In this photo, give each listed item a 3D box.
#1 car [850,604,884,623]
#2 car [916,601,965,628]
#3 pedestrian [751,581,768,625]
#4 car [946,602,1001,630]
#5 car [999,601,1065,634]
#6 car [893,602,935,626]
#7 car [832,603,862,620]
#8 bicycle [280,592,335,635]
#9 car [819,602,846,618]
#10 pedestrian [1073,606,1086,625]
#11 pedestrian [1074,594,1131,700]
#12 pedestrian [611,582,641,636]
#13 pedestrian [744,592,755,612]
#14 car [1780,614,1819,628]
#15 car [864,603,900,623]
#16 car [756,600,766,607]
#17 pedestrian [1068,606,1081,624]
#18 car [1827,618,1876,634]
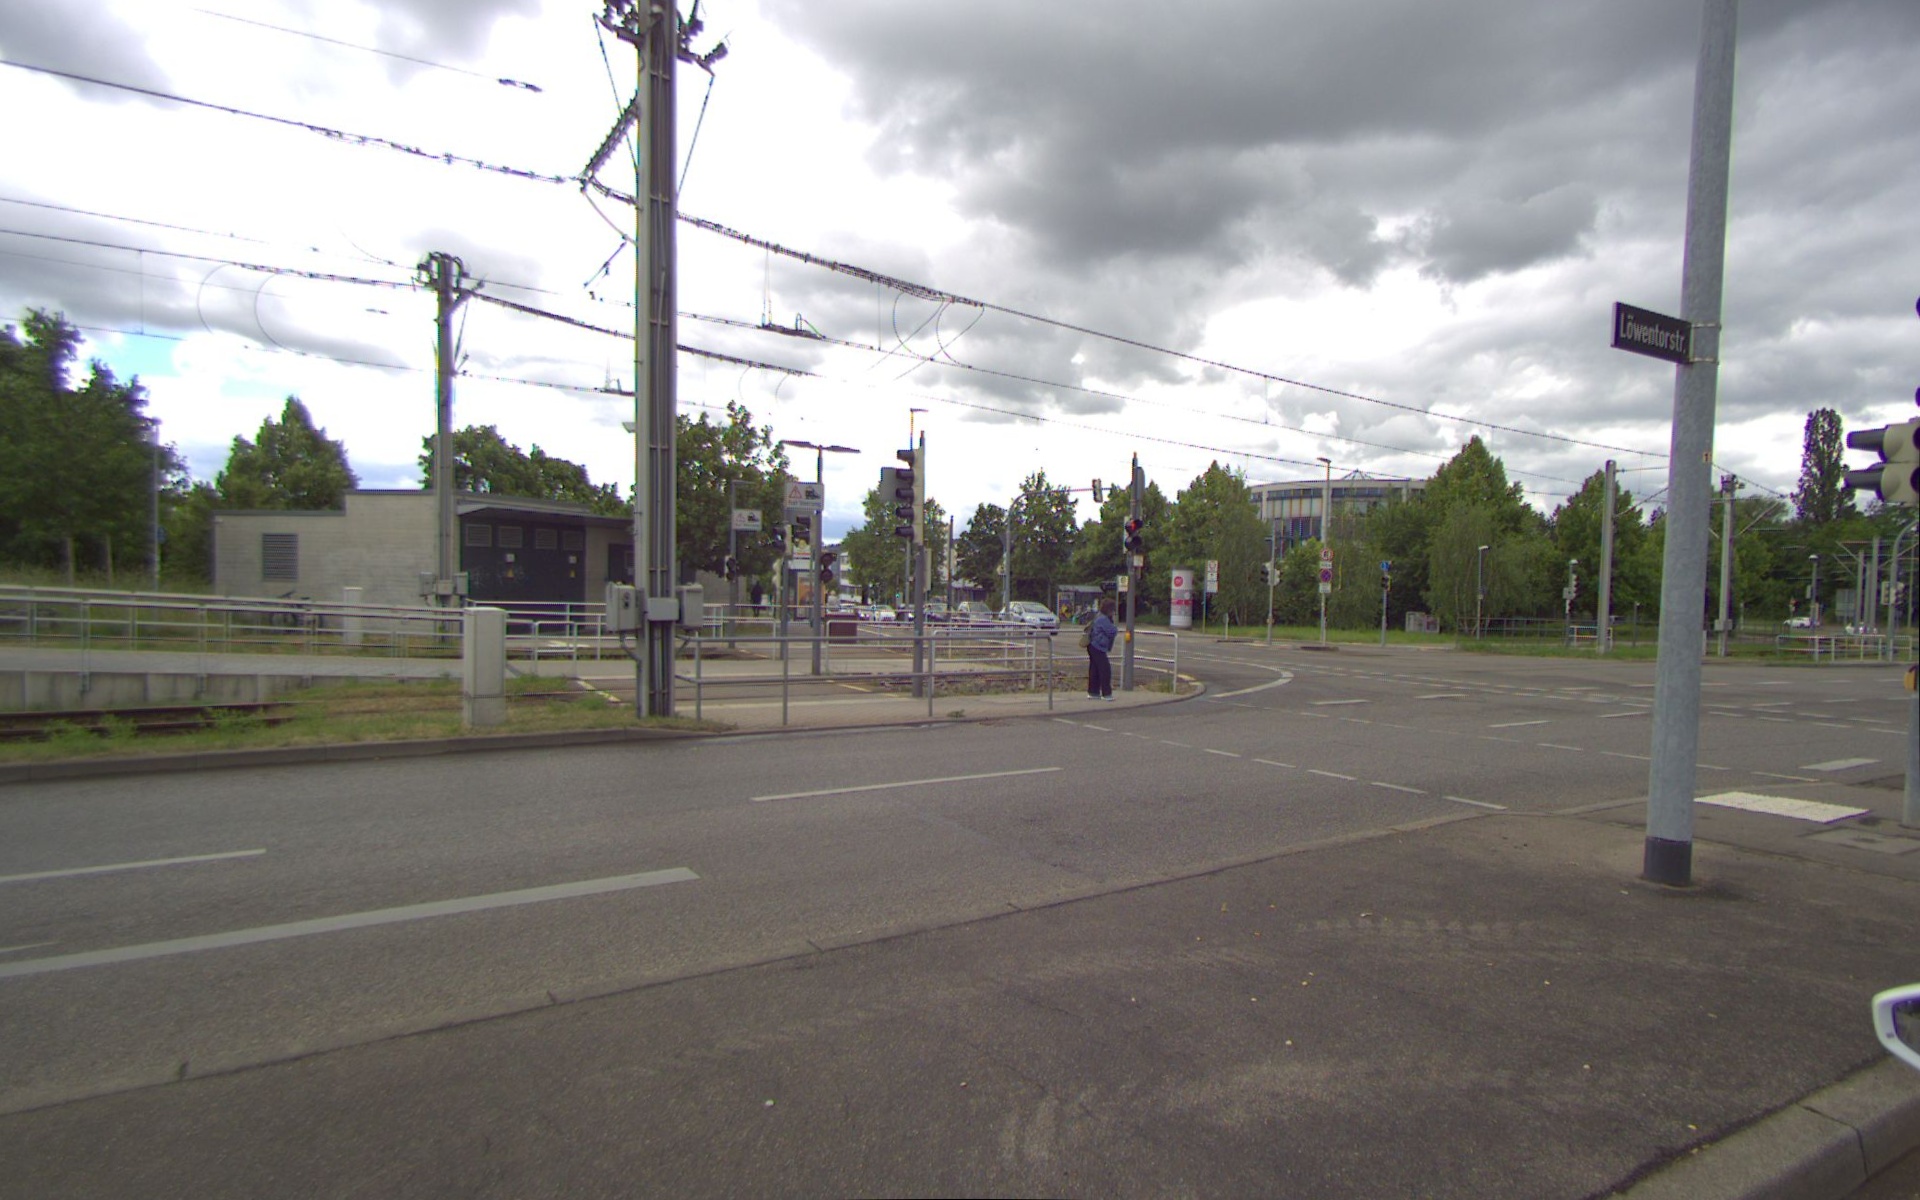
[{"bbox_3d":[-7.424,1.024,79.682,1.706,1.456,3.991,1,0,-20],"label":"car"},{"bbox_3d":[-1.156,0.817,58.163,1.706,1.456,3.731,1,0,-20],"label":"car"},{"bbox_3d":[-9.306,0.142,46.664,0.738,1.993,0.795,1,0,-9],"label":"pedestrian"},{"bbox_3d":[0.683,0.845,53.667,1.706,1.456,3.731,1,0,-20],"label":"car"},{"bbox_3d":[3.296,0.801,46.807,1.706,1.456,3.731,1,0,-20],"label":"car"},{"bbox_3d":[-3.010,0.889,64.929,1.706,1.456,3.731,1,0,-20],"label":"car"},{"bbox_3d":[-9.775,0.987,86.714,1.706,1.456,3.731,1,0,-20],"label":"car"},{"bbox_3d":[-17.333,0.348,26.675,1.452,1.101,0.492,1,0,22],"label":"bicycle"},{"bbox_3d":[-11.937,0.963,94.070,1.706,1.456,3.731,1,0,-20],"label":"car"},{"bbox_3d":[8.503,1.105,71.520,0.652,1.322,0.780,1,0,-16],"label":"pedestrian"},{"bbox_3d":[2.188,0.705,15.443,0.701,1.584,0.533,1,1,-44],"label":"pedestrian"},{"bbox_3d":[-10.241,0.272,30.762,0.699,1.628,0.651,1,0,-36],"label":"pedestrian"},{"bbox_3d":[-17.358,0.150,82.810,0.771,1.649,0.660,1,0,-22],"label":"pedestrian"},{"bbox_3d":[115.860,2.872,138.651,1.961,1.773,3.999,1,0,-2],"label":"car"},{"bbox_3d":[-5.819,0.963,74.779,1.706,1.456,3.731,1,0,-20],"label":"car"},{"bbox_3d":[-45.078,0.831,227.392,1.706,1.456,3.731,1,0,-20],"label":"car"},{"bbox_3d":[8.295,1.080,72.897,0.652,1.321,0.780,1,0,-16],"label":"pedestrian"},{"bbox_3d":[96.608,2.810,108.901,1.797,1.650,4.428,1,-1,7],"label":"car"}]
